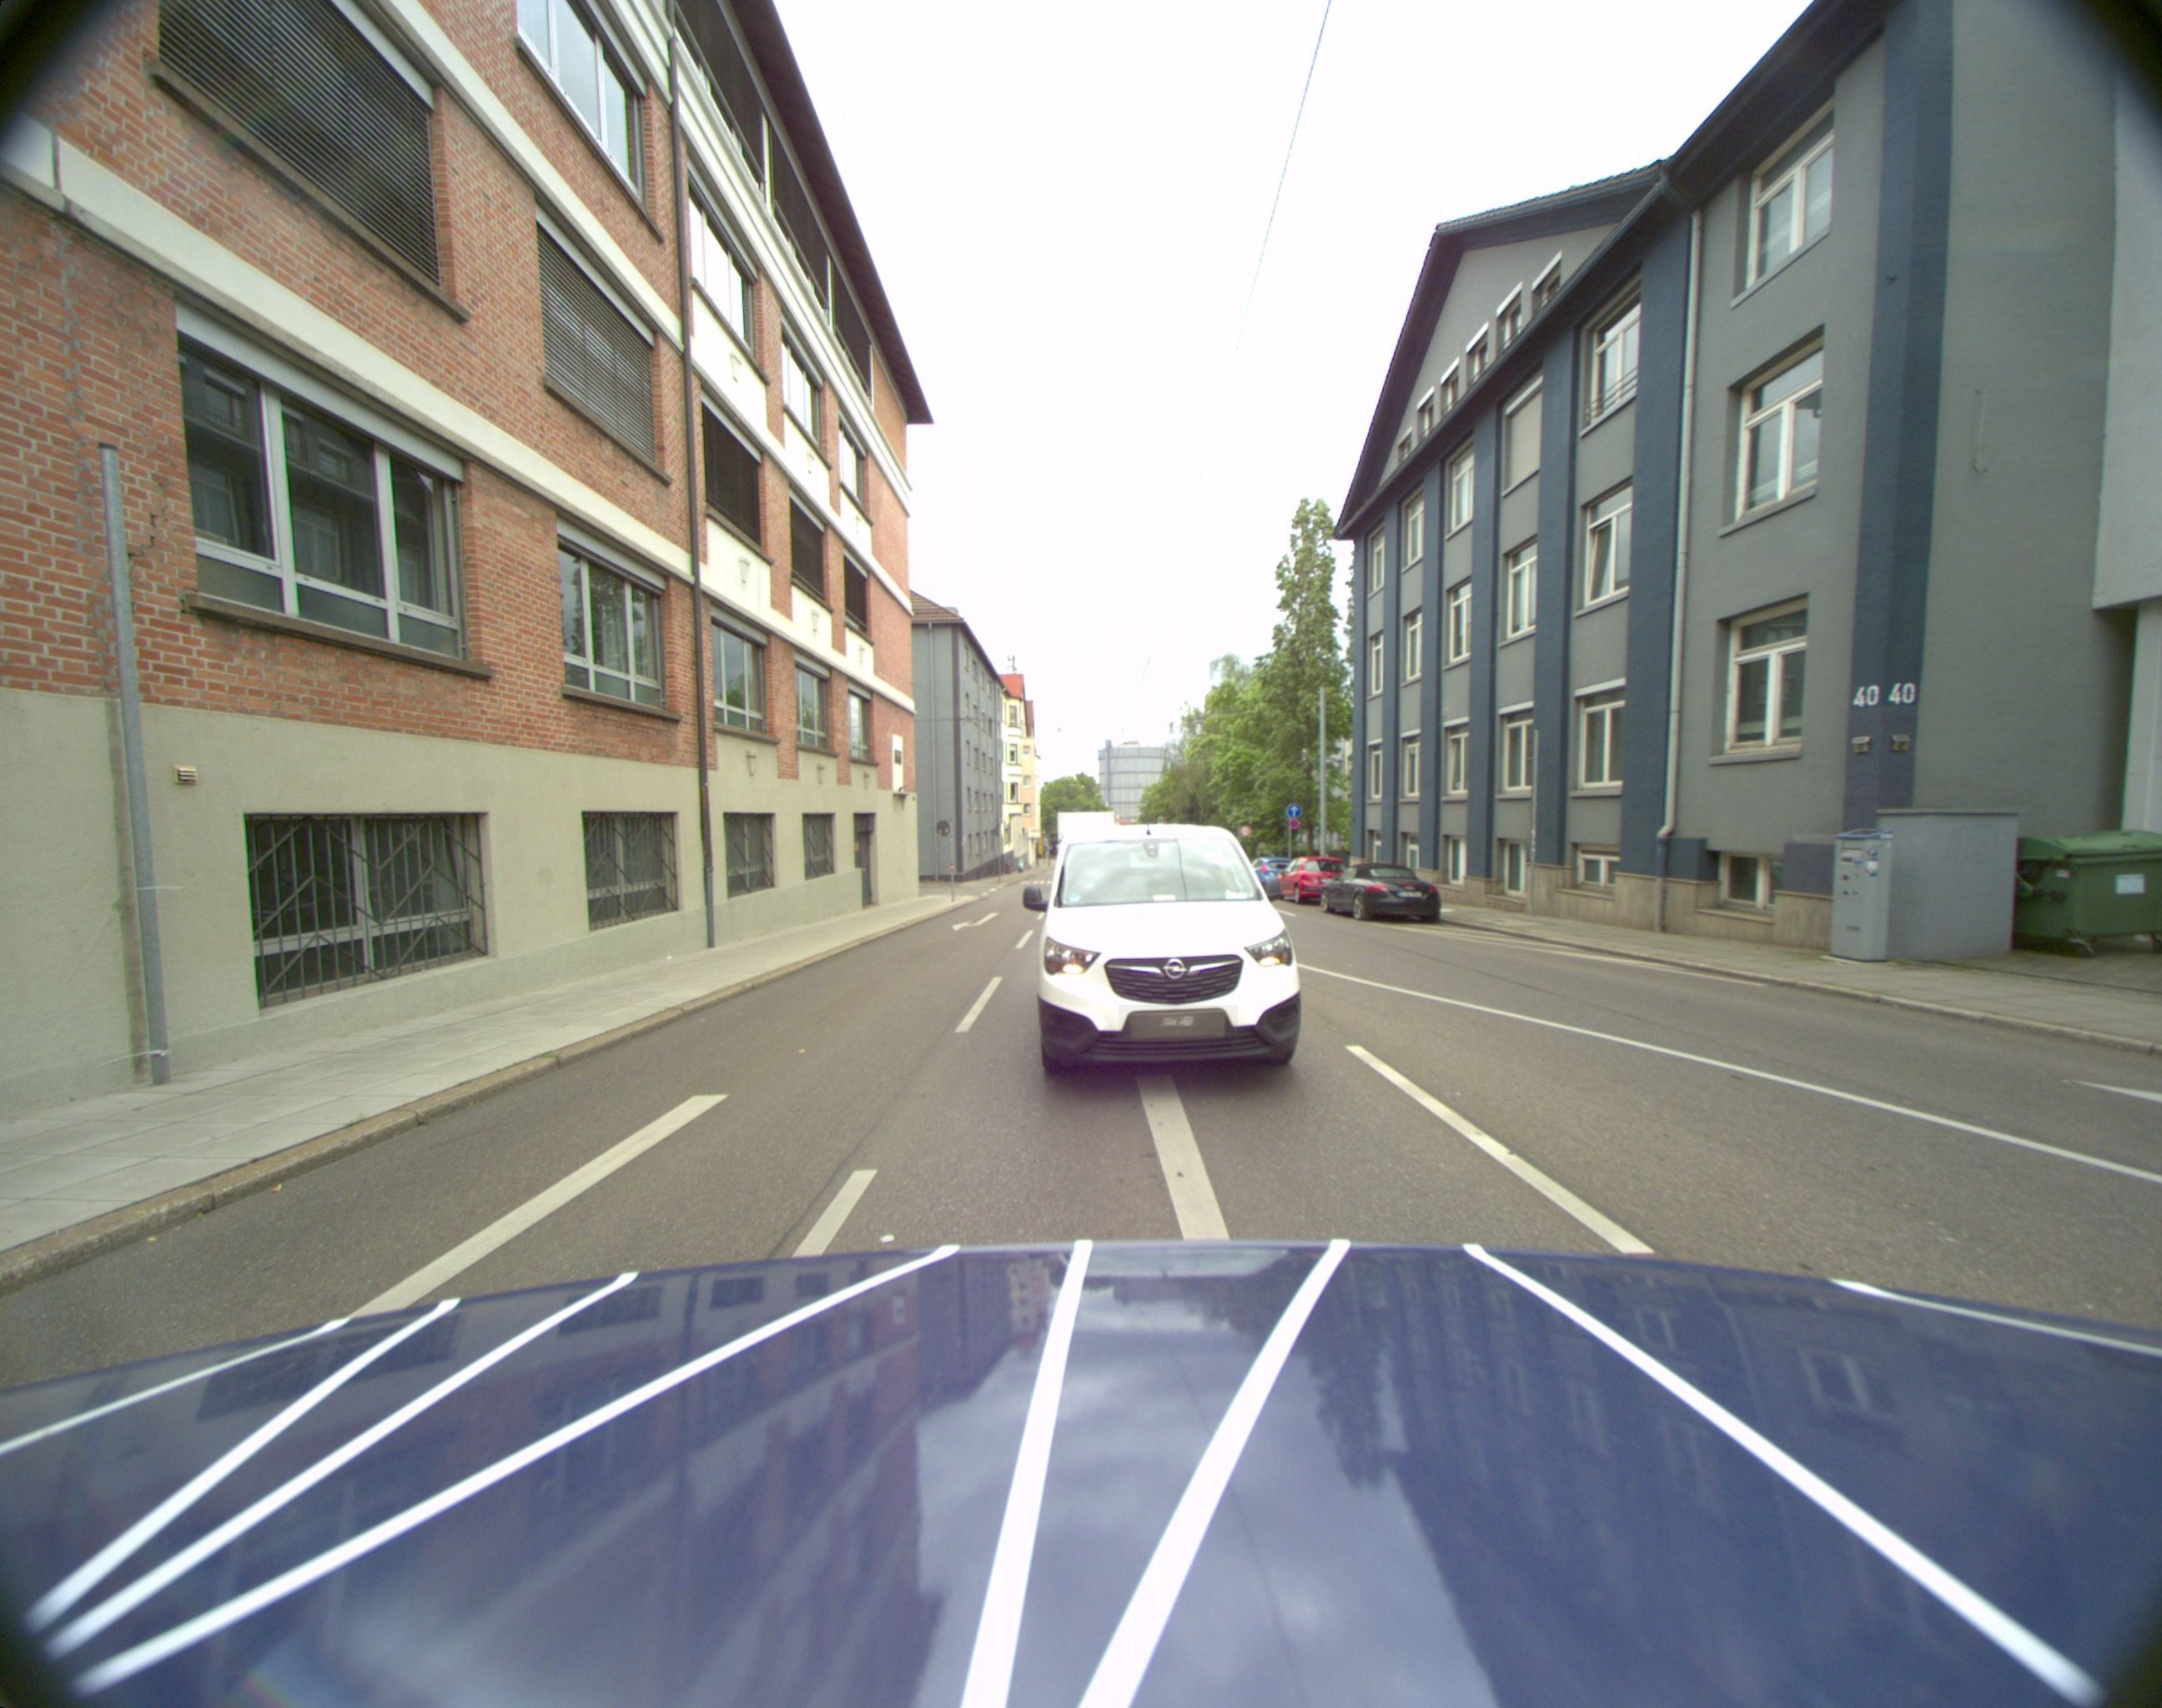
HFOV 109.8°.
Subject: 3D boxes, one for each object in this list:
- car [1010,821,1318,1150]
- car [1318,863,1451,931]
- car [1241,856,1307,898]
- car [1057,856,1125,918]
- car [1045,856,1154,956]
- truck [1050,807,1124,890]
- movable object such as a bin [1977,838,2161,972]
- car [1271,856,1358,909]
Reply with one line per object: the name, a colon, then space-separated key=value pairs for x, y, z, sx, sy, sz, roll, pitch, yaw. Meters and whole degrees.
car: x=0.513 y=0.755 z=6.453 sx=1.739 sy=1.875 sz=4.000 roll=-2 pitch=1 yaw=1
car: x=7.218 y=0.972 z=18.479 sx=1.801 sy=1.384 sz=3.729 roll=0 pitch=1 yaw=1
car: x=7.480 y=0.864 z=29.818 sx=1.644 sy=1.441 sz=3.729 roll=-2 pitch=1 yaw=1
car: x=0.286 y=0.872 z=21.896 sx=1.739 sy=1.519 sz=4.000 roll=-2 pitch=1 yaw=1
car: x=0.328 y=0.857 z=14.404 sx=1.739 sy=1.519 sz=4.000 roll=-2 pitch=1 yaw=1
truck: x=0.312 y=-0.296 z=36.594 sx=2.969 sy=3.409 sz=8.879 roll=-2 pitch=1 yaw=1
movable object such as a bin: x=12.084 y=0.575 z=9.199 sx=1.229 sy=1.498 sz=1.040 roll=-2 pitch=1 yaw=1
car: x=7.383 y=0.854 z=24.358 sx=1.644 sy=1.441 sz=3.729 roll=-2 pitch=1 yaw=1
